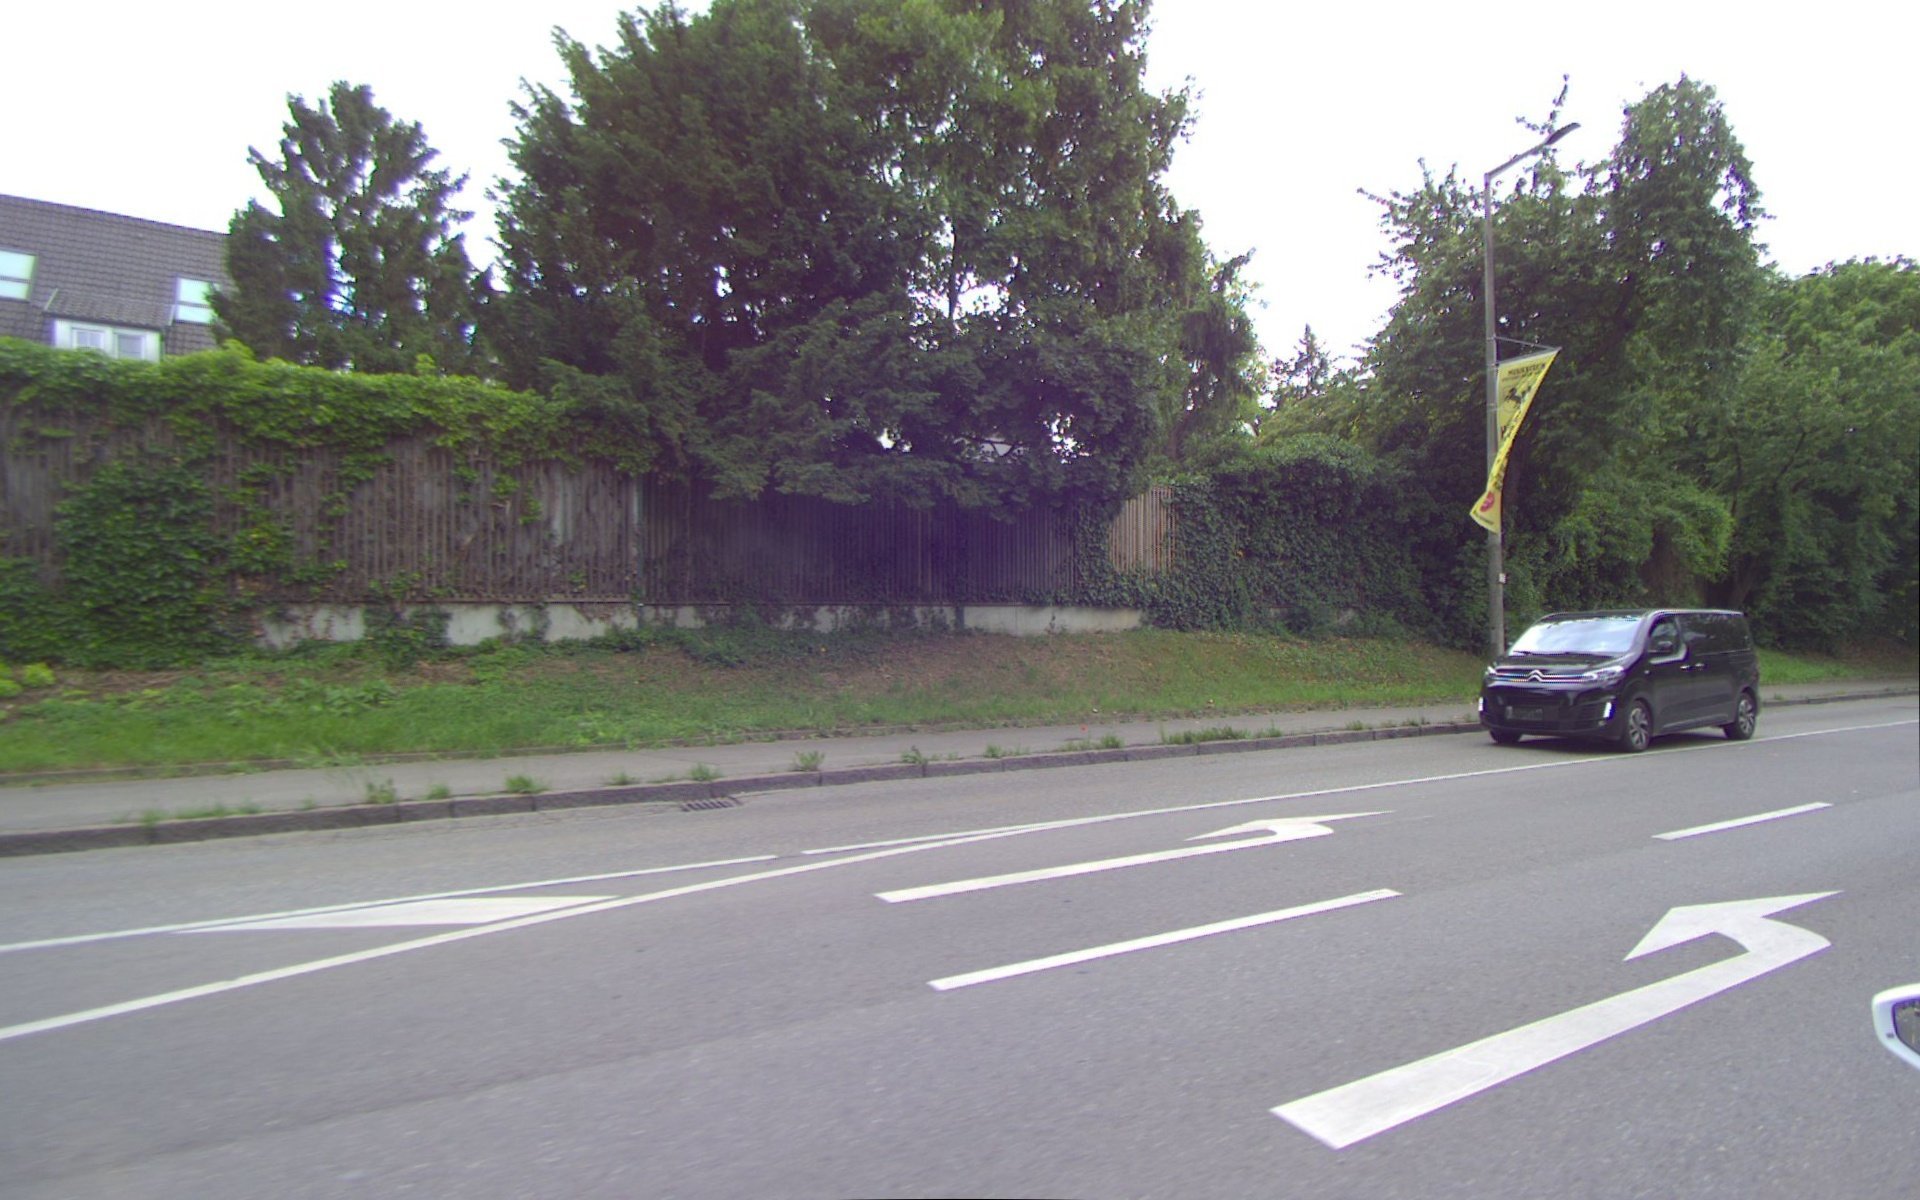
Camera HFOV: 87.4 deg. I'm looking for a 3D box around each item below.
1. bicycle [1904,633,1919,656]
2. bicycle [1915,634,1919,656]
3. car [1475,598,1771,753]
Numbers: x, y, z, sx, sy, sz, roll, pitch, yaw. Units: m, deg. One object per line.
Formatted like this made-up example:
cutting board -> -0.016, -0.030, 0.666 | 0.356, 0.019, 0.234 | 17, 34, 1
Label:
bicycle -> 55.090, 2.577, 57.258 | 1.896, 1.269, 0.546 | 2, 0, 6
bicycle -> 54.837, 2.566, 56.306 | 1.896, 1.269, 0.546 | 2, 0, 6
car -> 9.617, 1.029, 14.470 | 4.637, 1.929, 1.794 | 2, -3, -32
